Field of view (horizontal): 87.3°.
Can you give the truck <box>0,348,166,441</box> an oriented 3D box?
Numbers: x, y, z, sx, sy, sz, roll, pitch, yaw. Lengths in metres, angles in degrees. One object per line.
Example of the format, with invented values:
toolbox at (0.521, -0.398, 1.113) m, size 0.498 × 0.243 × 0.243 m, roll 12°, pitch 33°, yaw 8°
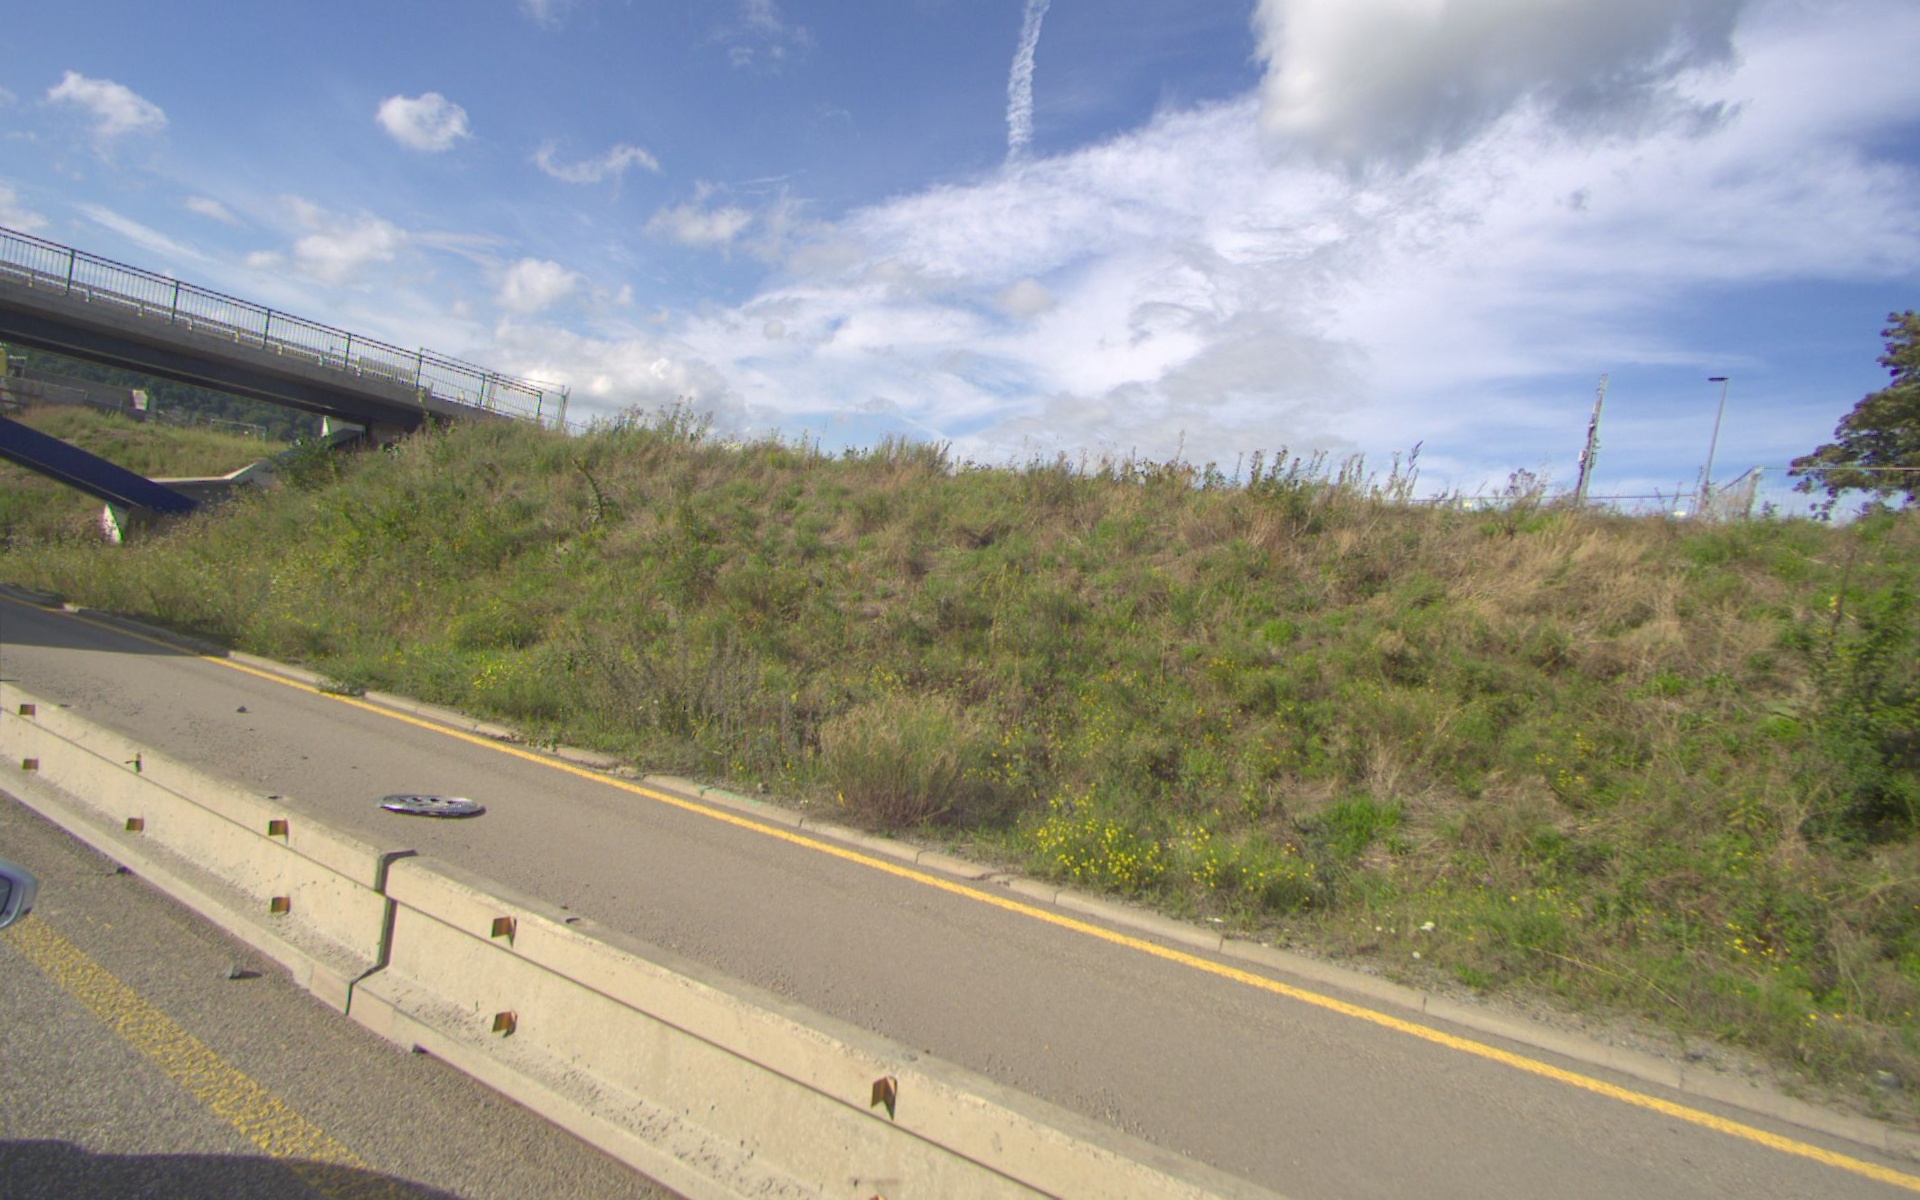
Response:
truck at (-49.903, -11.367, 55.186) m, size 2.912 × 3.266 × 9.276 m, roll 7°, pitch -1°, yaw 33°
